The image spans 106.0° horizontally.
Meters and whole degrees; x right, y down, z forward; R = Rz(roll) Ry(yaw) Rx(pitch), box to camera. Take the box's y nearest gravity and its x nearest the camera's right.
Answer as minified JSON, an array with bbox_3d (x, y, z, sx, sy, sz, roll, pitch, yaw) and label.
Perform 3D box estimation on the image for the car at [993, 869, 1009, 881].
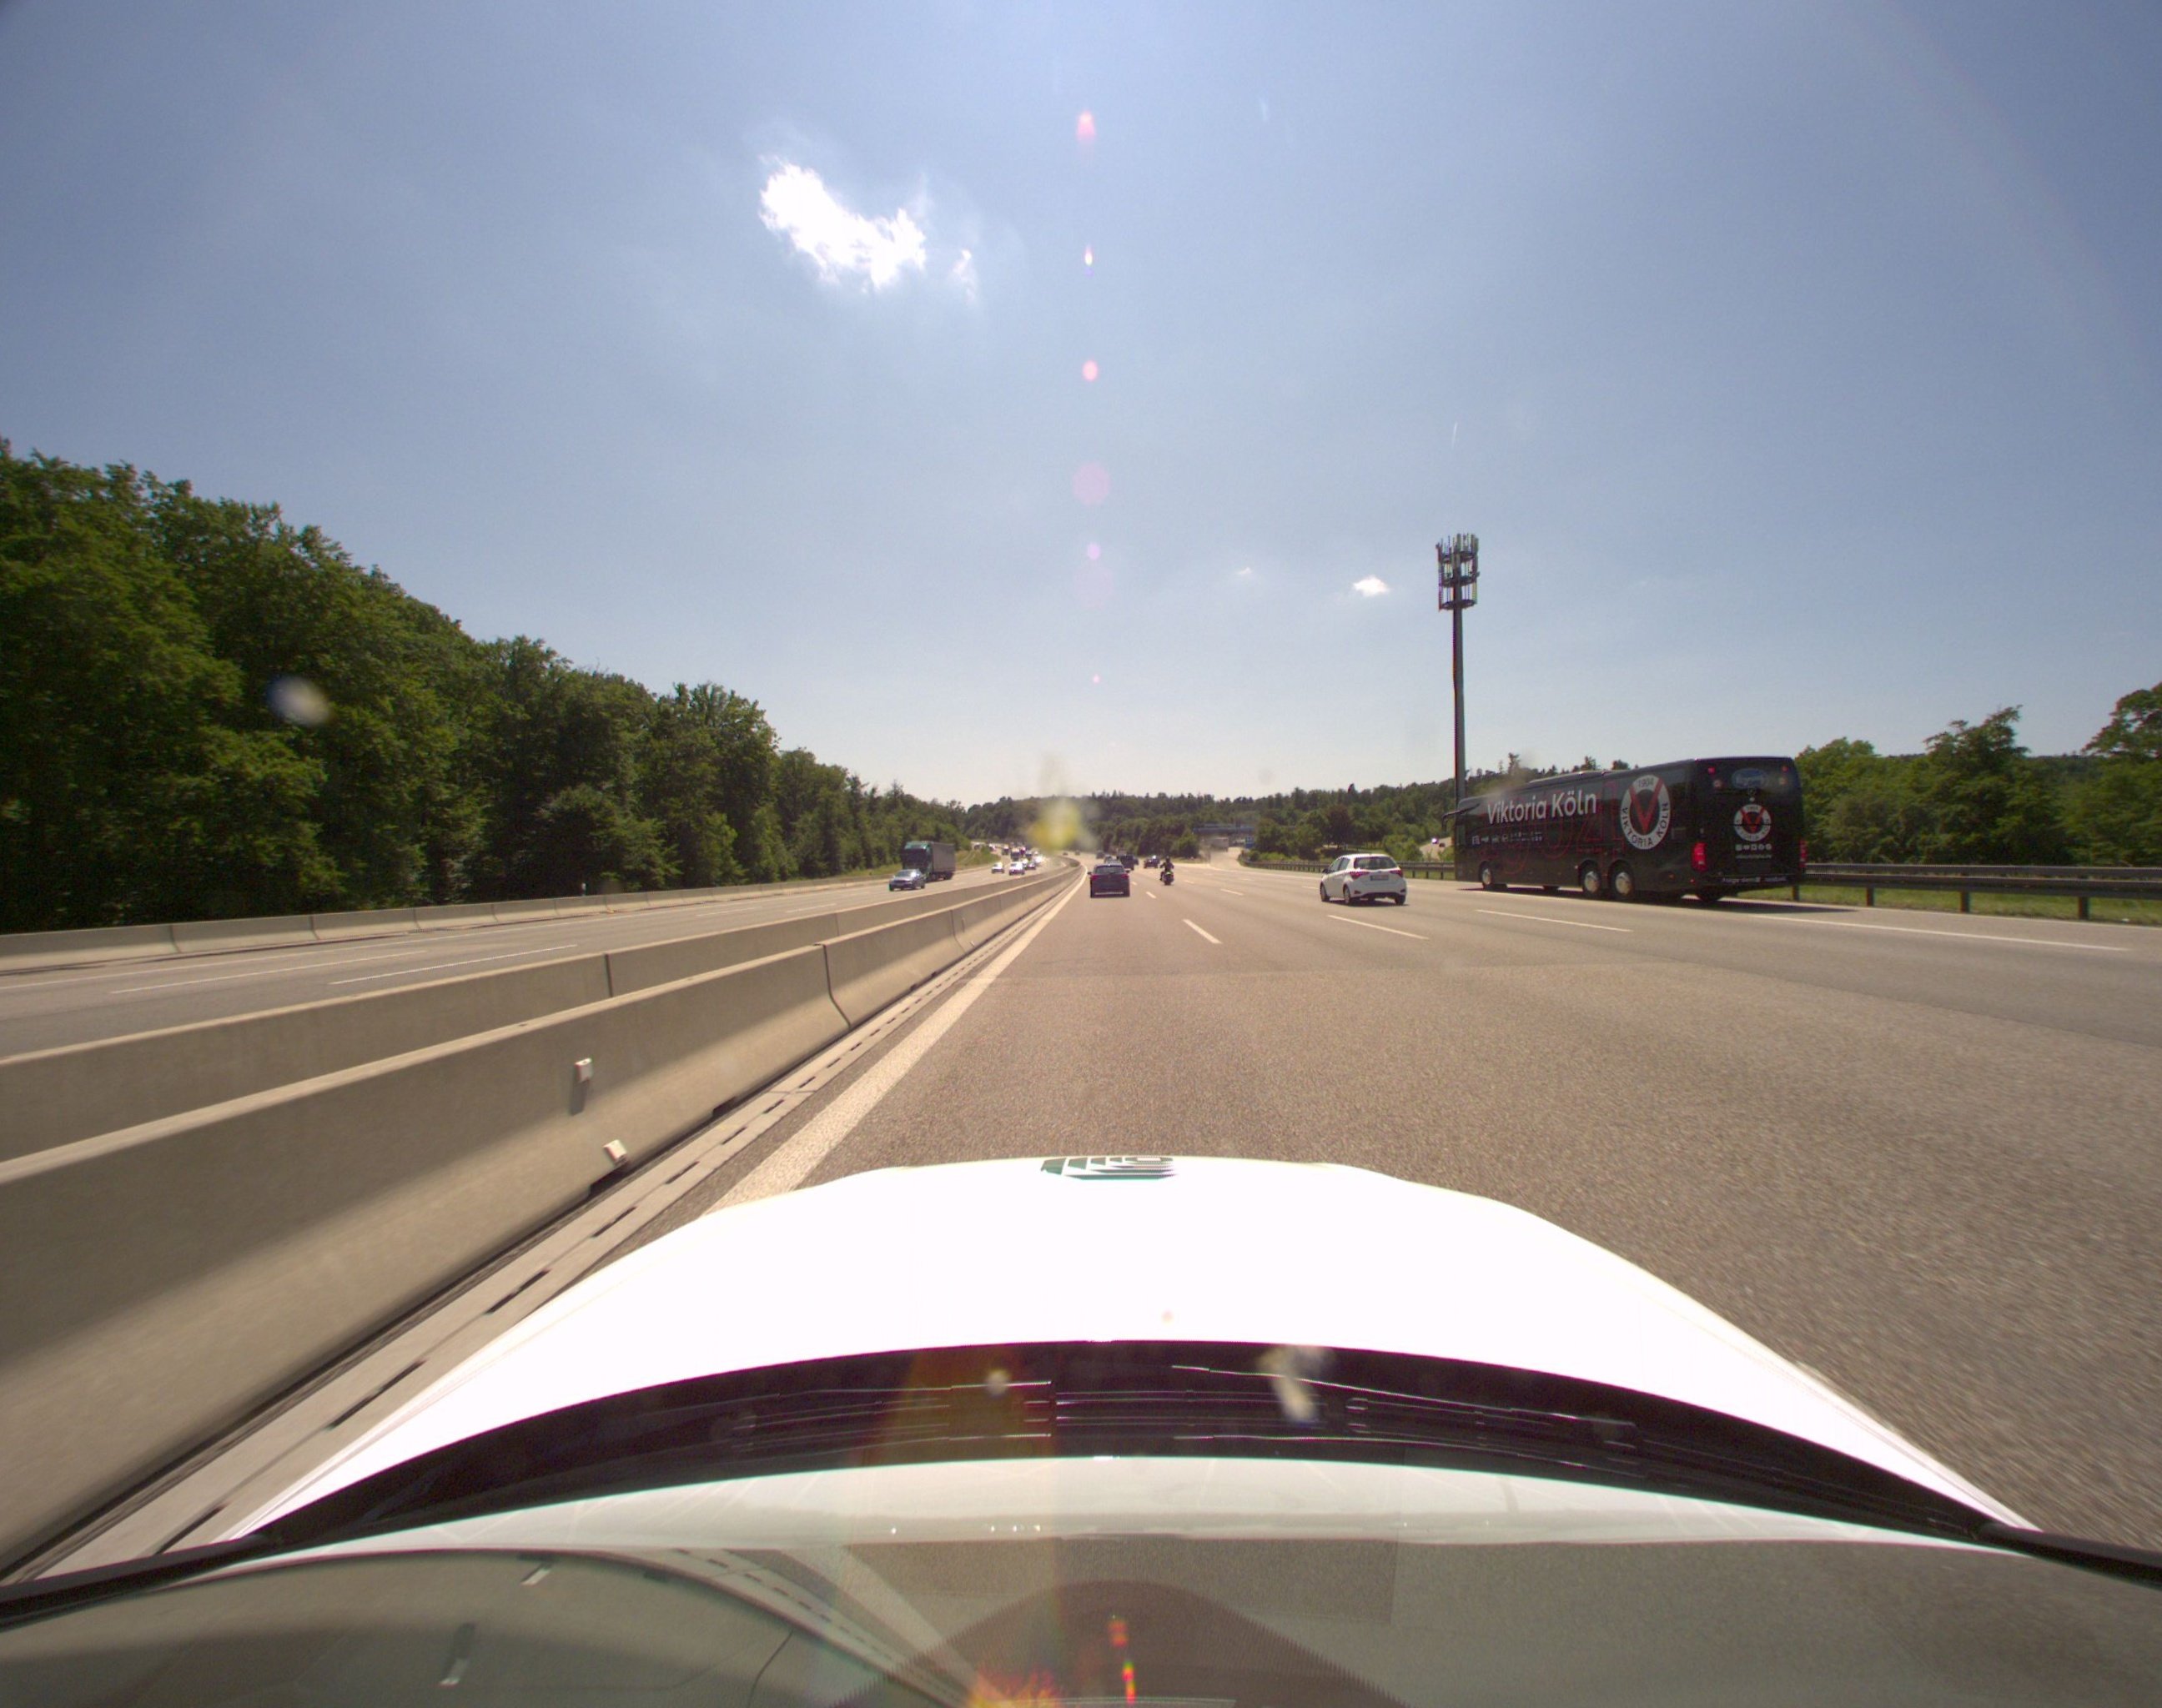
[{"bbox_3d":[-11.782,3.066,119.921,1.866,1.534,4.136,-2,-1,1],"label":"car"}]

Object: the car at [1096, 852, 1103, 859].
[{"bbox_3d":[5.664,0.413,248.840,1.988,2.013,4.671,0,1,-2],"label":"car"}]

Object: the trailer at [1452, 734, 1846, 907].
[{"bbox_3d":[15.425,-0.634,24.479,2.846,3.688,13.550,-2,-1,3],"label":"trailer"}]

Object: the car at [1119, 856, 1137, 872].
[{"bbox_3d":[5.946,1.289,103.216,2.090,1.851,4.081,-2,-1,0],"label":"car"}]

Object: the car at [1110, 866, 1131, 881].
[{"bbox_3d":[3.480,1.703,72.497,1.776,1.265,3.461,-2,0,1],"label":"car"}]

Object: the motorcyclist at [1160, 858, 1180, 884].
[{"bbox_3d":[5.165,0.997,47.378,0.959,1.437,1.234,-2,0,-2],"label":"motorcyclist"}]

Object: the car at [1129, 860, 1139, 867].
[{"bbox_3d":[9.563,1.721,146.046,1.603,1.212,3.460,-2,-1,1],"label":"car"}]

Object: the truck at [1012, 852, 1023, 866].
[{"bbox_3d":[-18.904,1.439,241.591,2.673,4.177,6.230,-2,0,0],"label":"truck"}]

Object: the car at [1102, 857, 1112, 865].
[{"bbox_3d":[5.474,1.499,172.842,1.988,1.684,4.421,0,1,-2],"label":"car"}]

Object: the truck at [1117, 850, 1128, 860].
[{"bbox_3d":[11.647,0.224,227.363,2.719,2.786,5.679,0,1,-2],"label":"truck"}]

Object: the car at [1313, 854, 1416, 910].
[{"bbox_3d":[8.500,0.798,24.846,1.660,1.433,4.377,-4,-1,2],"label":"car"}]

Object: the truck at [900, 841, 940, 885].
[{"bbox_3d":[-15.709,0.885,79.703,2.648,4.025,5.511,-2,-1,1],"label":"truck"}]

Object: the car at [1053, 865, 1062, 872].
[{"bbox_3d":[-5.004,3.010,172.983,1.596,1.468,4.505,-2,-1,1],"label":"car"}]

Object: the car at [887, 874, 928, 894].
[{"bbox_3d":[-12.304,2.107,57.969,1.825,1.301,4.730,-1,-1,1],"label":"car"}]

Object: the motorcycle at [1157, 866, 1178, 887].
[{"bbox_3d":[5.049,1.319,47.519,0.974,1.129,2.271,-2,0,1],"label":"motorcycle"}]

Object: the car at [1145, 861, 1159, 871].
[{"bbox_3d":[9.777,1.626,112.365,1.668,1.432,3.687,-1,0,3],"label":"car"}]

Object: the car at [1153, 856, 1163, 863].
[{"bbox_3d":[13.984,0.938,148.290,1.603,1.212,3.460,-2,0,1],"label":"car"}]

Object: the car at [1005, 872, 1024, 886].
[{"bbox_3d":[-8.118,3.040,99.454,1.825,1.562,4.777,-2,-1,1],"label":"car"}]

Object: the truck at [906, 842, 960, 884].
[{"bbox_3d":[-15.552,0.922,86.889,2.680,4.025,14.302,-2,0,2],"label":"truck"}]

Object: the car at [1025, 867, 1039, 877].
[{"bbox_3d":[-8.314,2.992,137.452,1.866,1.476,5.112,-4,-1,1],"label":"car"}]

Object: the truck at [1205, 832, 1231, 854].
[{"bbox_3d":[42.231,-3.317,251.502,5.489,6.266,15.432,-2,0,1],"label":"truck"}]

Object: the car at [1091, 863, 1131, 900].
[{"bbox_3d":[1.315,1.147,35.545,1.618,1.487,3.687,-2,-1,3],"label":"car"}]
